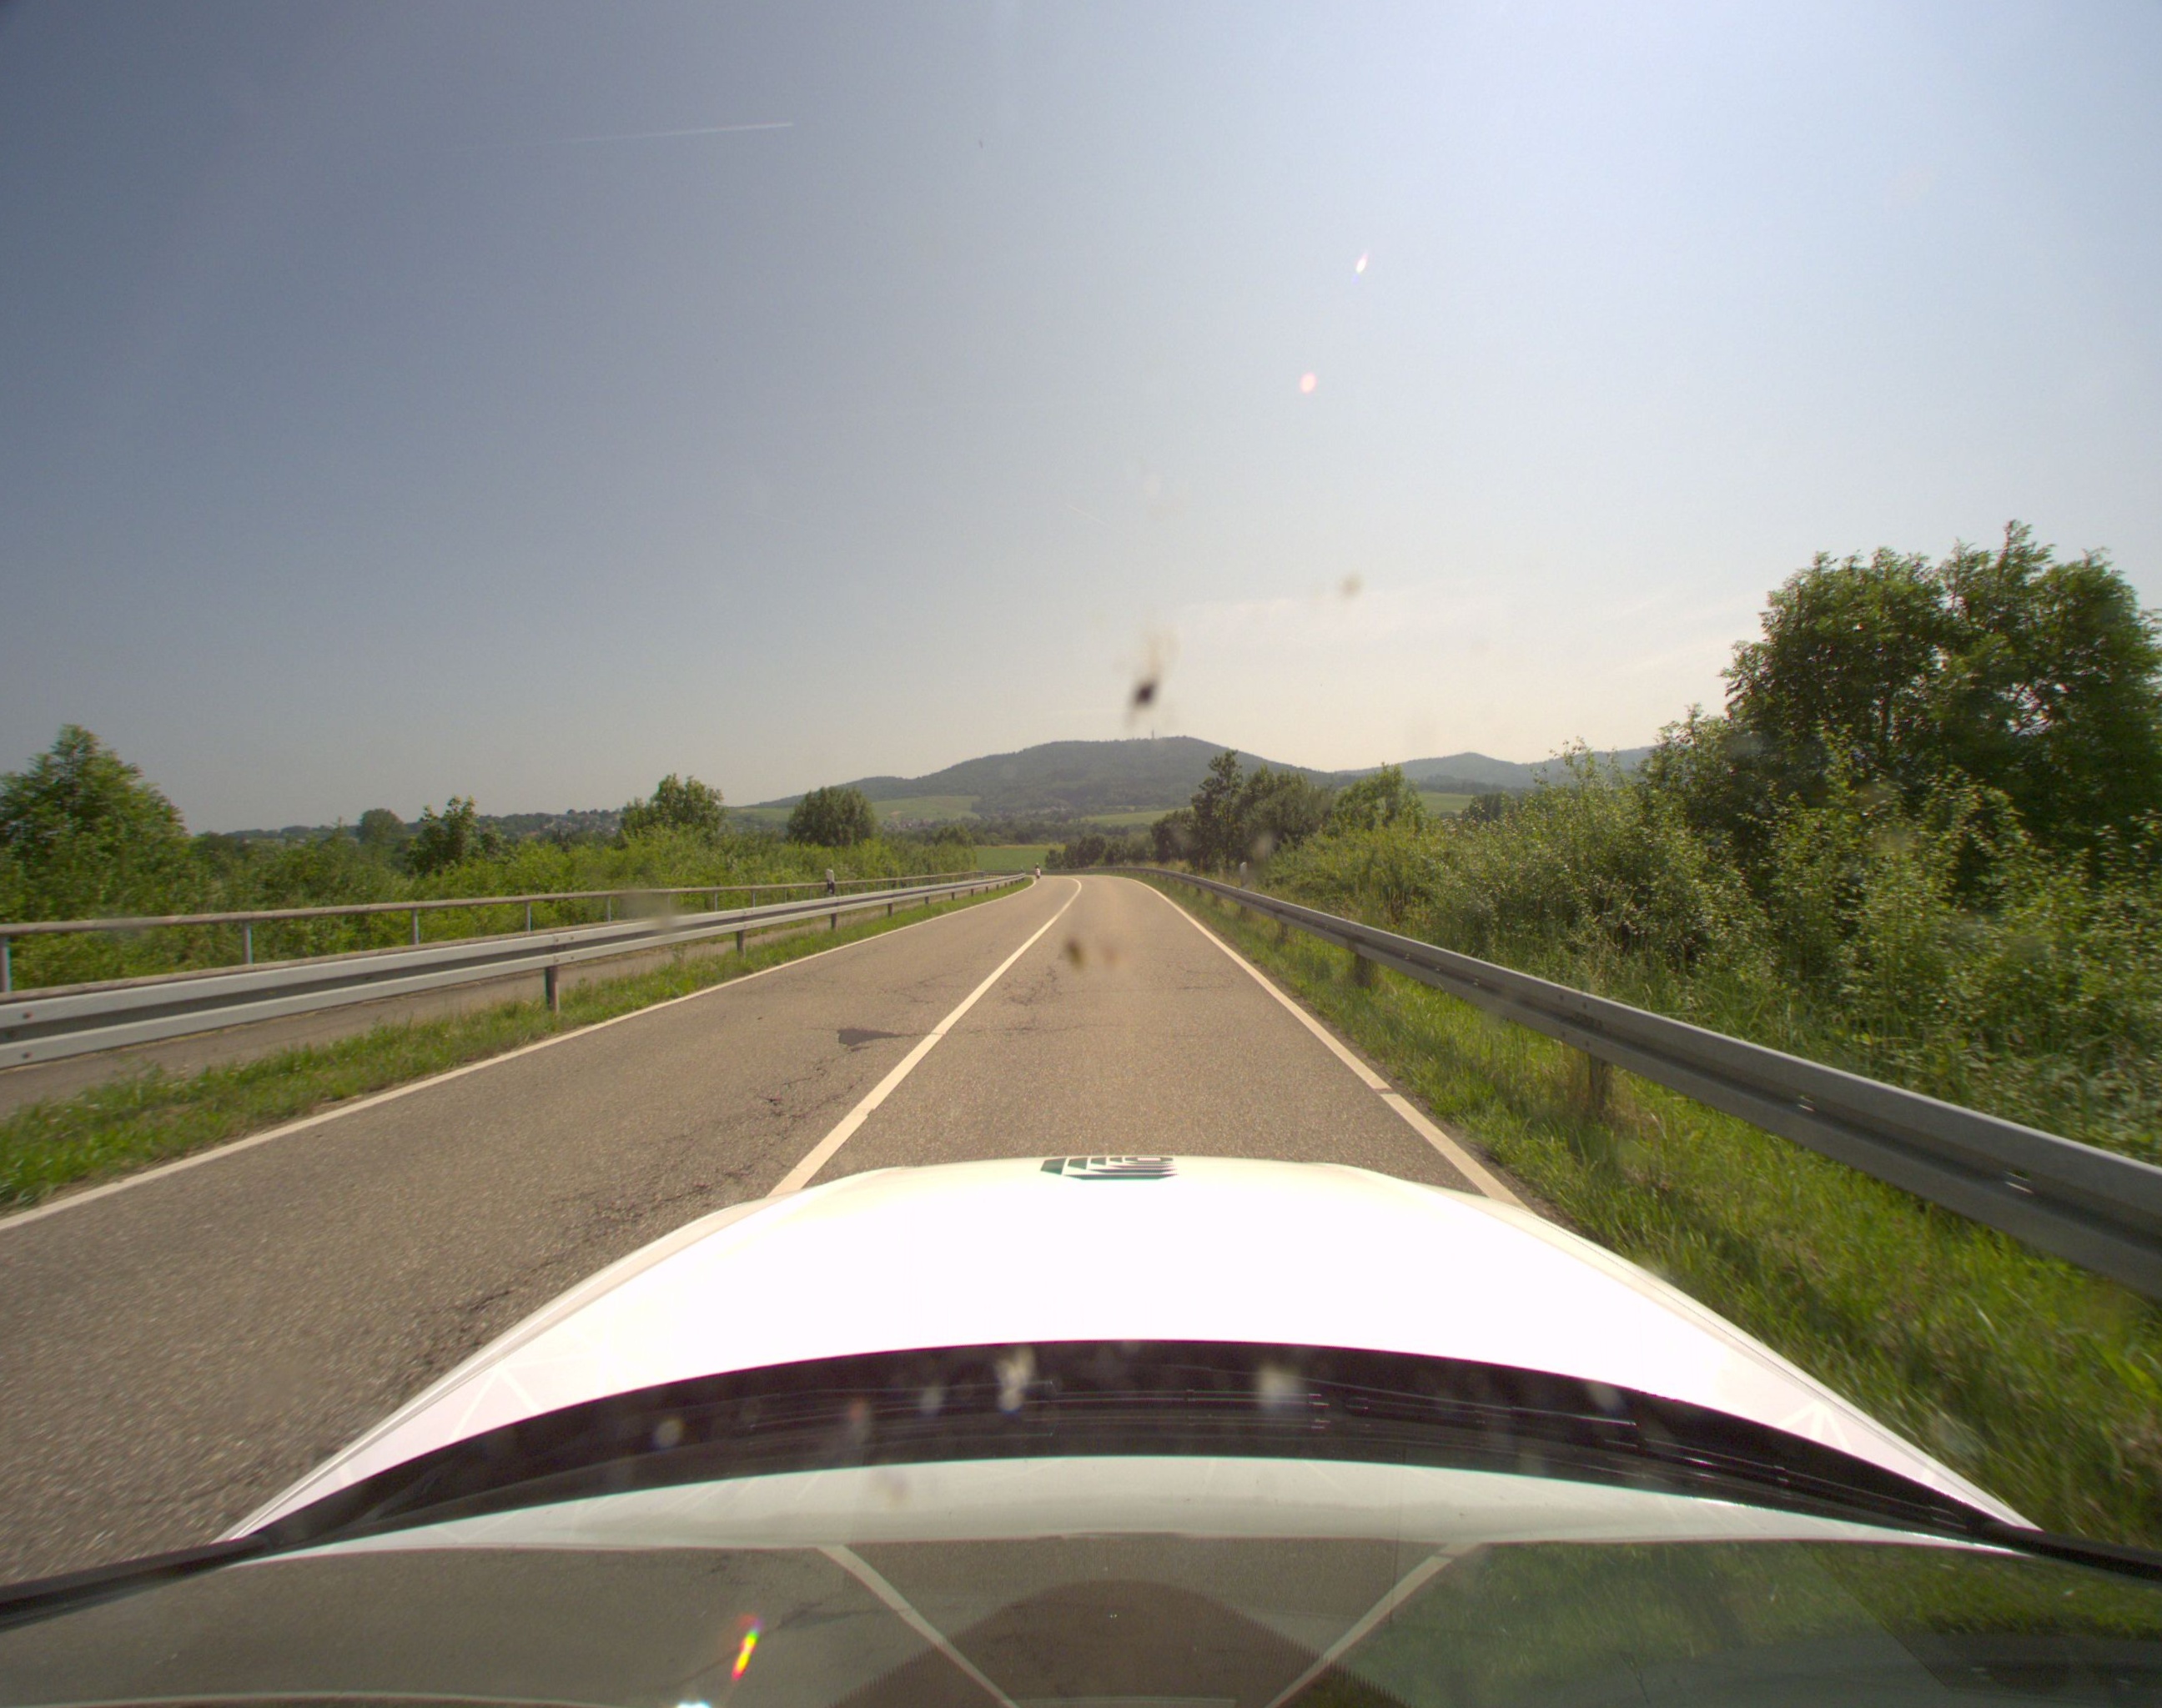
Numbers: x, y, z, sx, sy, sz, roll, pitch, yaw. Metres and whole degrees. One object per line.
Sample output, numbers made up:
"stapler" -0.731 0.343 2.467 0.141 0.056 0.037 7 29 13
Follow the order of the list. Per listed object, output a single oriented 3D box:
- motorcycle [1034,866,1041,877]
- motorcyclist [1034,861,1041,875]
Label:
"motorcycle" -4.815 1.915 89.734 0.642 1.223 1.636 -4 0 -4
"motorcyclist" -4.830 1.548 89.755 0.653 1.562 0.774 -4 -1 -4
